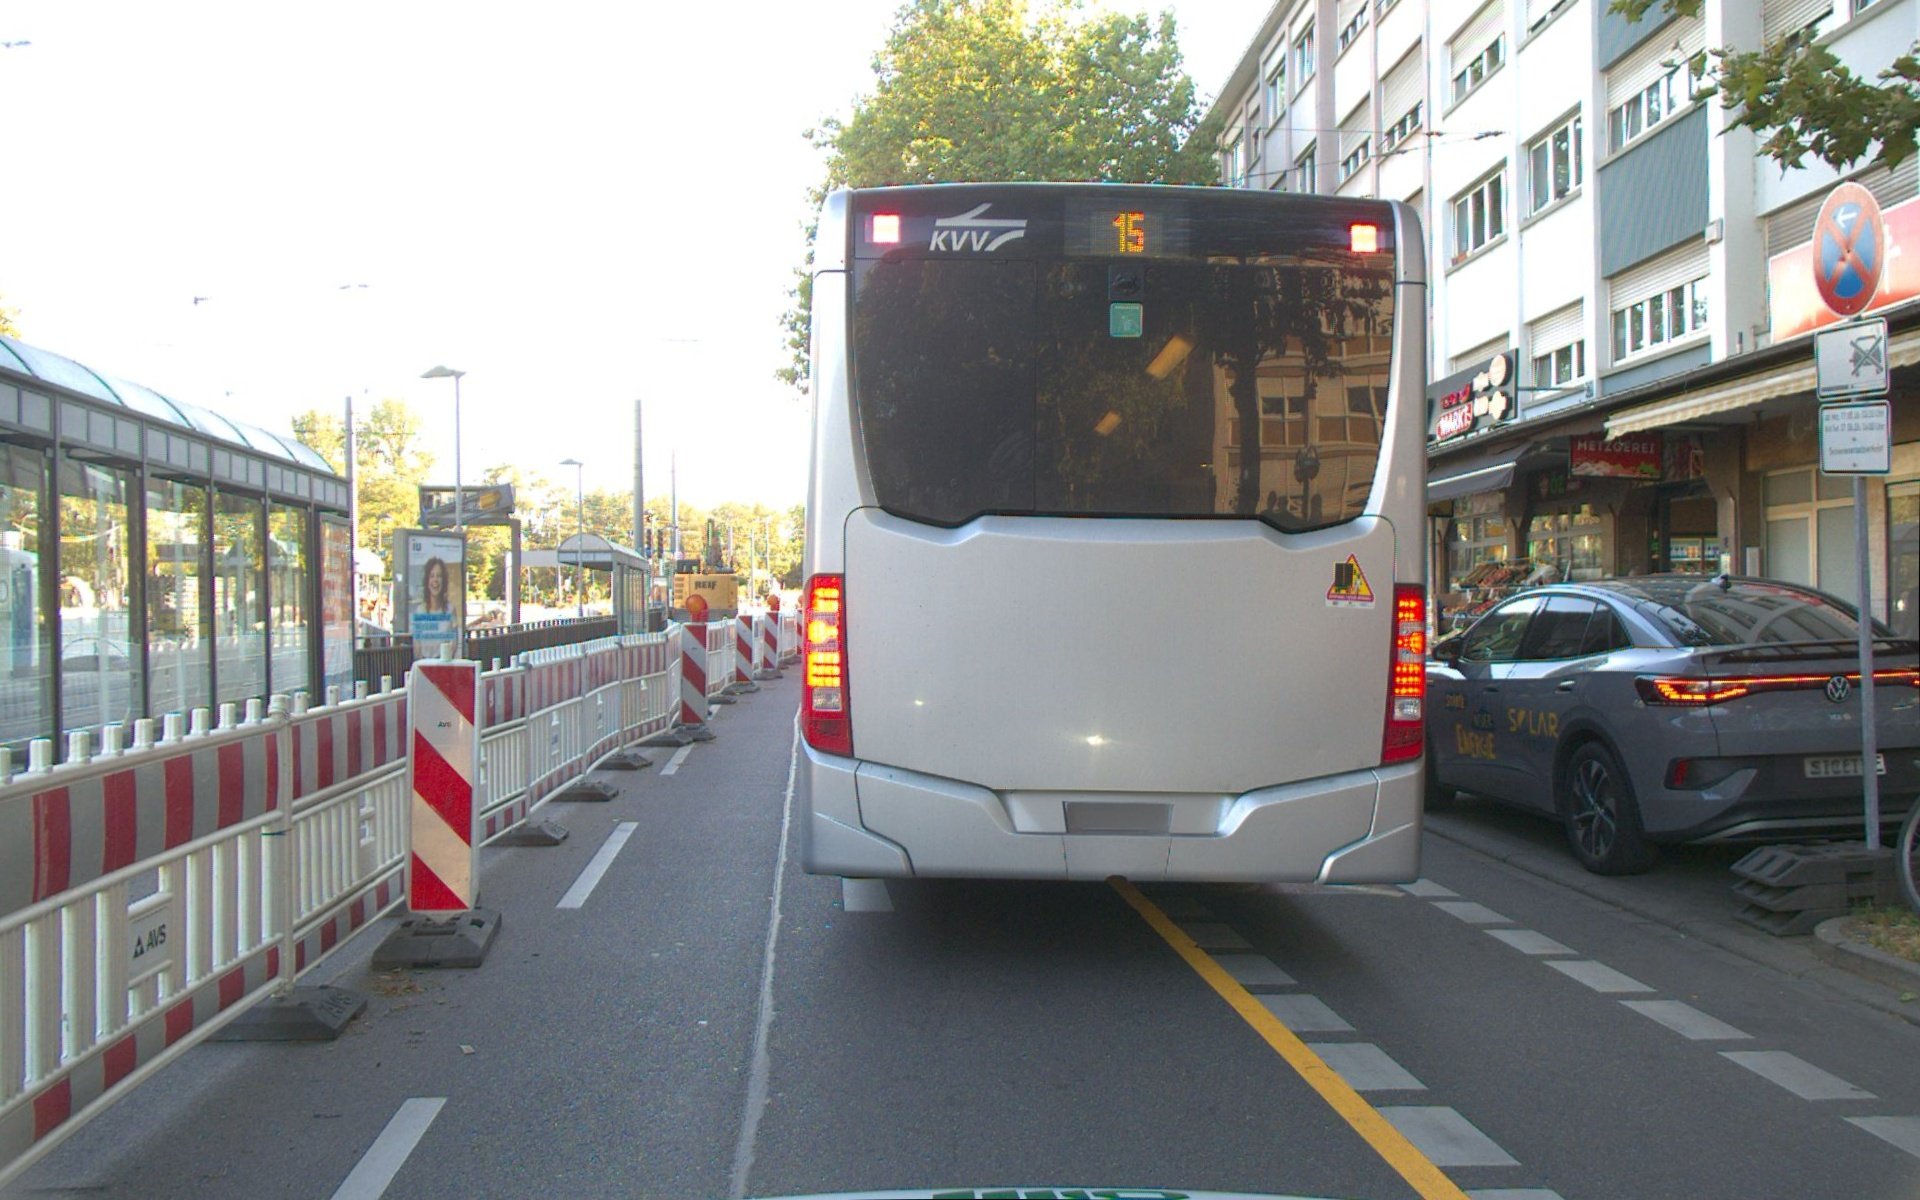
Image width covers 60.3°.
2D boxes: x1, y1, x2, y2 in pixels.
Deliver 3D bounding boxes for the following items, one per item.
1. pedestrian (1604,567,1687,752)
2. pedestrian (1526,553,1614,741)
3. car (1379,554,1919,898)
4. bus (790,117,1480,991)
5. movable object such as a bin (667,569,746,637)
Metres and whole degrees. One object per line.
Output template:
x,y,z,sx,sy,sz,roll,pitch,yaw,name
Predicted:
7.768,0.660,18.752,0.600,2.049,0.696,-1,0,-4,pedestrian
6.805,0.514,18.479,0.677,2.049,0.696,-1,0,-5,pedestrian
4.230,0.610,10.362,1.706,1.625,4.294,-3,0,-5,car
0.613,-0.186,11.274,2.555,3.225,10.290,0,0,0,bus
-9.699,0.098,63.526,2.752,2.505,3.995,-1,0,-6,movable object such as a bin
